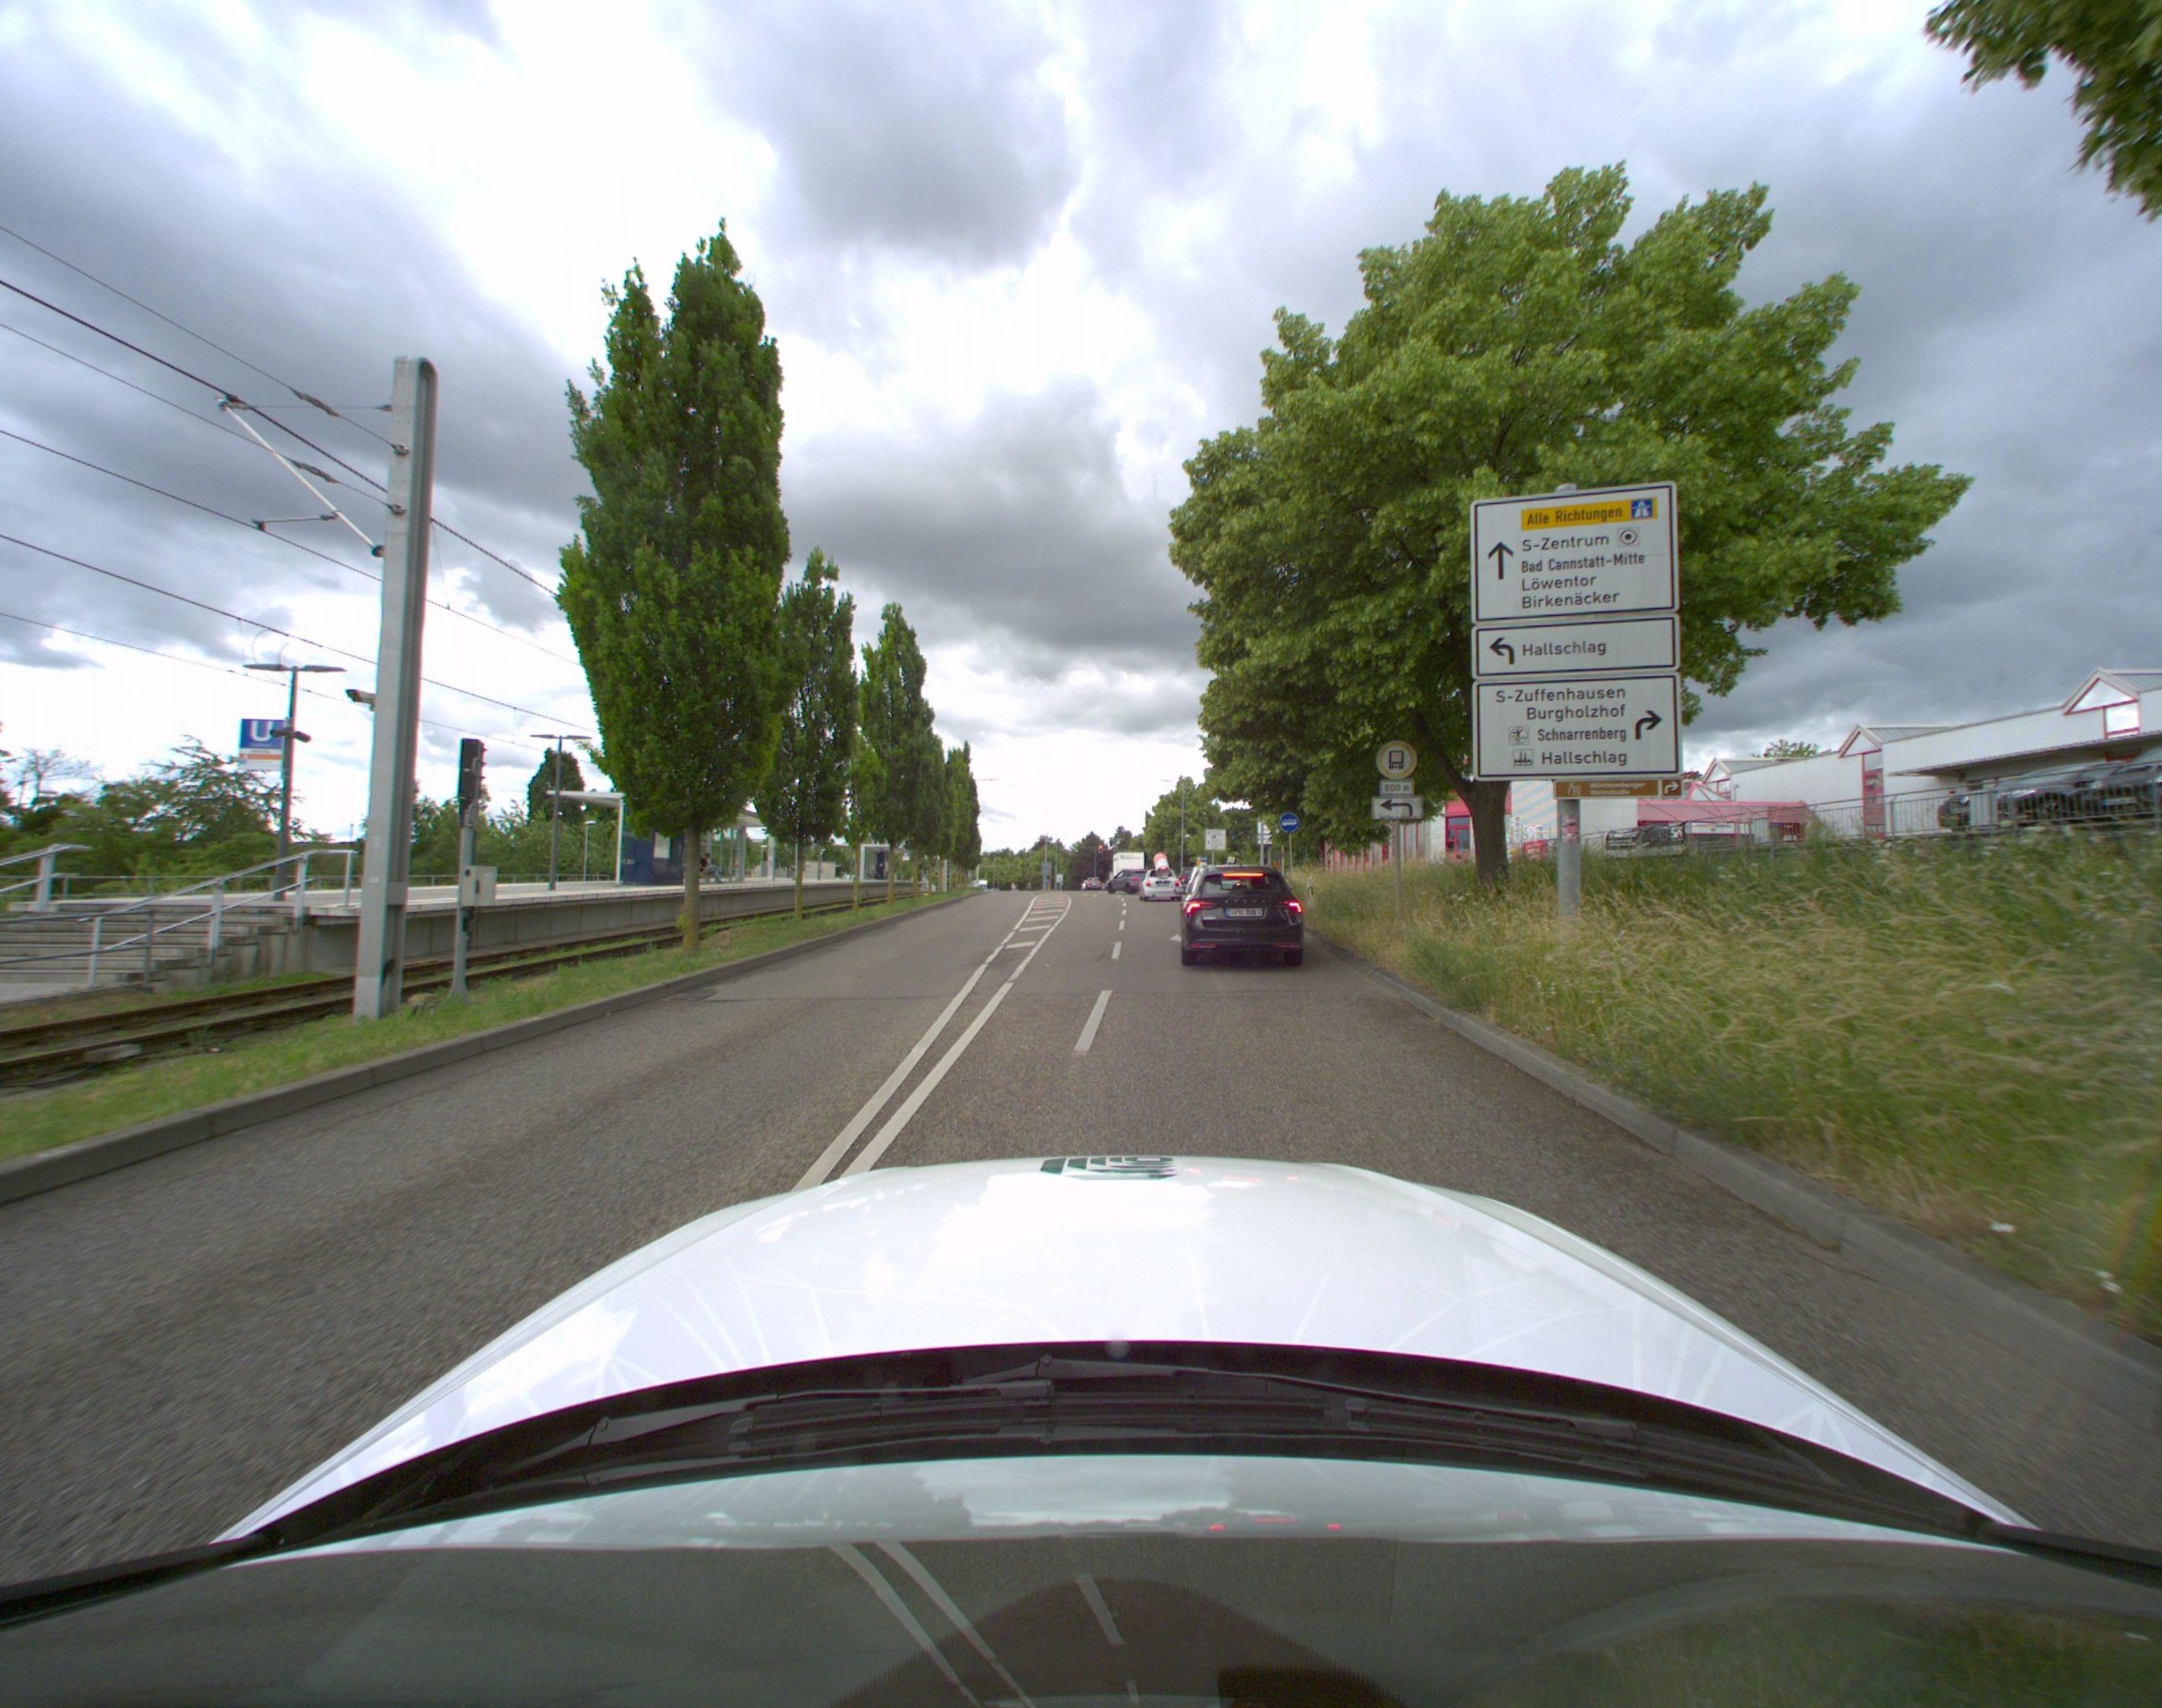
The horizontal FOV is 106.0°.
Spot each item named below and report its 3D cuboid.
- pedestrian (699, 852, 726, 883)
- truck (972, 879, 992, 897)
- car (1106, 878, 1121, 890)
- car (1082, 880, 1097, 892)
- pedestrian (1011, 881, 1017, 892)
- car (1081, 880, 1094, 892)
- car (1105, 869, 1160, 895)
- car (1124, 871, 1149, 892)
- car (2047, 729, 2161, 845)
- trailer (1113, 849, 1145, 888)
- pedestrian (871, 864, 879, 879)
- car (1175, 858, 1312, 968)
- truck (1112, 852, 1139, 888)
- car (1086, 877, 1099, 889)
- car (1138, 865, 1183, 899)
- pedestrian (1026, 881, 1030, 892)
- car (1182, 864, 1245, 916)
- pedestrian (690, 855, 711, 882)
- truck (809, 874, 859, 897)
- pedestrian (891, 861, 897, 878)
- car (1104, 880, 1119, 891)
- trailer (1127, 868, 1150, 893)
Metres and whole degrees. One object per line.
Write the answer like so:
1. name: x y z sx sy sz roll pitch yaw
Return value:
1. pedestrian: -14.515 0.523 32.101 0.759 1.199 0.664 0 -2 -3
2. truck: -21.562 7.298 176.759 2.665 3.649 9.449 2 -2 -16
3. car: 3.823 3.563 96.616 1.805 1.354 4.119 0 -1 2
4. car: 1.092 4.085 104.688 1.717 1.422 4.352 0 -3 -2
5. pedestrian: -9.469 4.620 115.014 0.862 1.560 0.517 0 -1 -4
6. car: 0.869 4.315 110.068 1.531 1.505 2.667 0 -4 -2
7. car: 3.116 1.712 50.008 1.706 1.486 3.968 0 -1 -24
8. car: 4.006 2.020 59.080 1.665 1.448 4.490 0 -2 2
9. car: 20.387 -1.159 14.695 3.735 1.959 1.646 1 0 6
10. trailer: 4.816 1.566 82.727 2.558 3.706 7.758 0 -2 -1
11. pedestrian: -17.214 1.454 68.030 0.609 1.269 0.658 0 0 -7
12. car: 2.483 0.807 13.157 1.826 1.432 4.288 0 0 8
13. truck: 4.740 1.745 86.823 2.564 3.706 4.103 0 -2 -1
14. car: 1.374 3.362 95.431 1.520 1.354 3.491 0 0 1
15. car: 3.580 1.270 37.060 1.713 1.457 3.695 0 -2 0
16. pedestrian: -7.541 4.617 116.197 0.585 1.621 0.422 0 -1 -4
17. car: 3.965 1.051 24.848 1.615 1.457 3.693 0 -1 5
18. pedestrian: -15.335 0.583 32.839 0.605 1.079 0.470 0 -1 -3
19. truck: -40.412 5.119 133.303 7.212 3.599 2.693 0 -1 1
20. pedestrian: -20.648 1.736 89.982 0.571 1.828 0.791 0 -3 -6
21. car: 3.992 4.157 107.105 1.542 1.404 3.994 0 -3 -3
22. trailer: 3.882 1.797 55.188 1.404 1.594 3.304 0 -2 2
